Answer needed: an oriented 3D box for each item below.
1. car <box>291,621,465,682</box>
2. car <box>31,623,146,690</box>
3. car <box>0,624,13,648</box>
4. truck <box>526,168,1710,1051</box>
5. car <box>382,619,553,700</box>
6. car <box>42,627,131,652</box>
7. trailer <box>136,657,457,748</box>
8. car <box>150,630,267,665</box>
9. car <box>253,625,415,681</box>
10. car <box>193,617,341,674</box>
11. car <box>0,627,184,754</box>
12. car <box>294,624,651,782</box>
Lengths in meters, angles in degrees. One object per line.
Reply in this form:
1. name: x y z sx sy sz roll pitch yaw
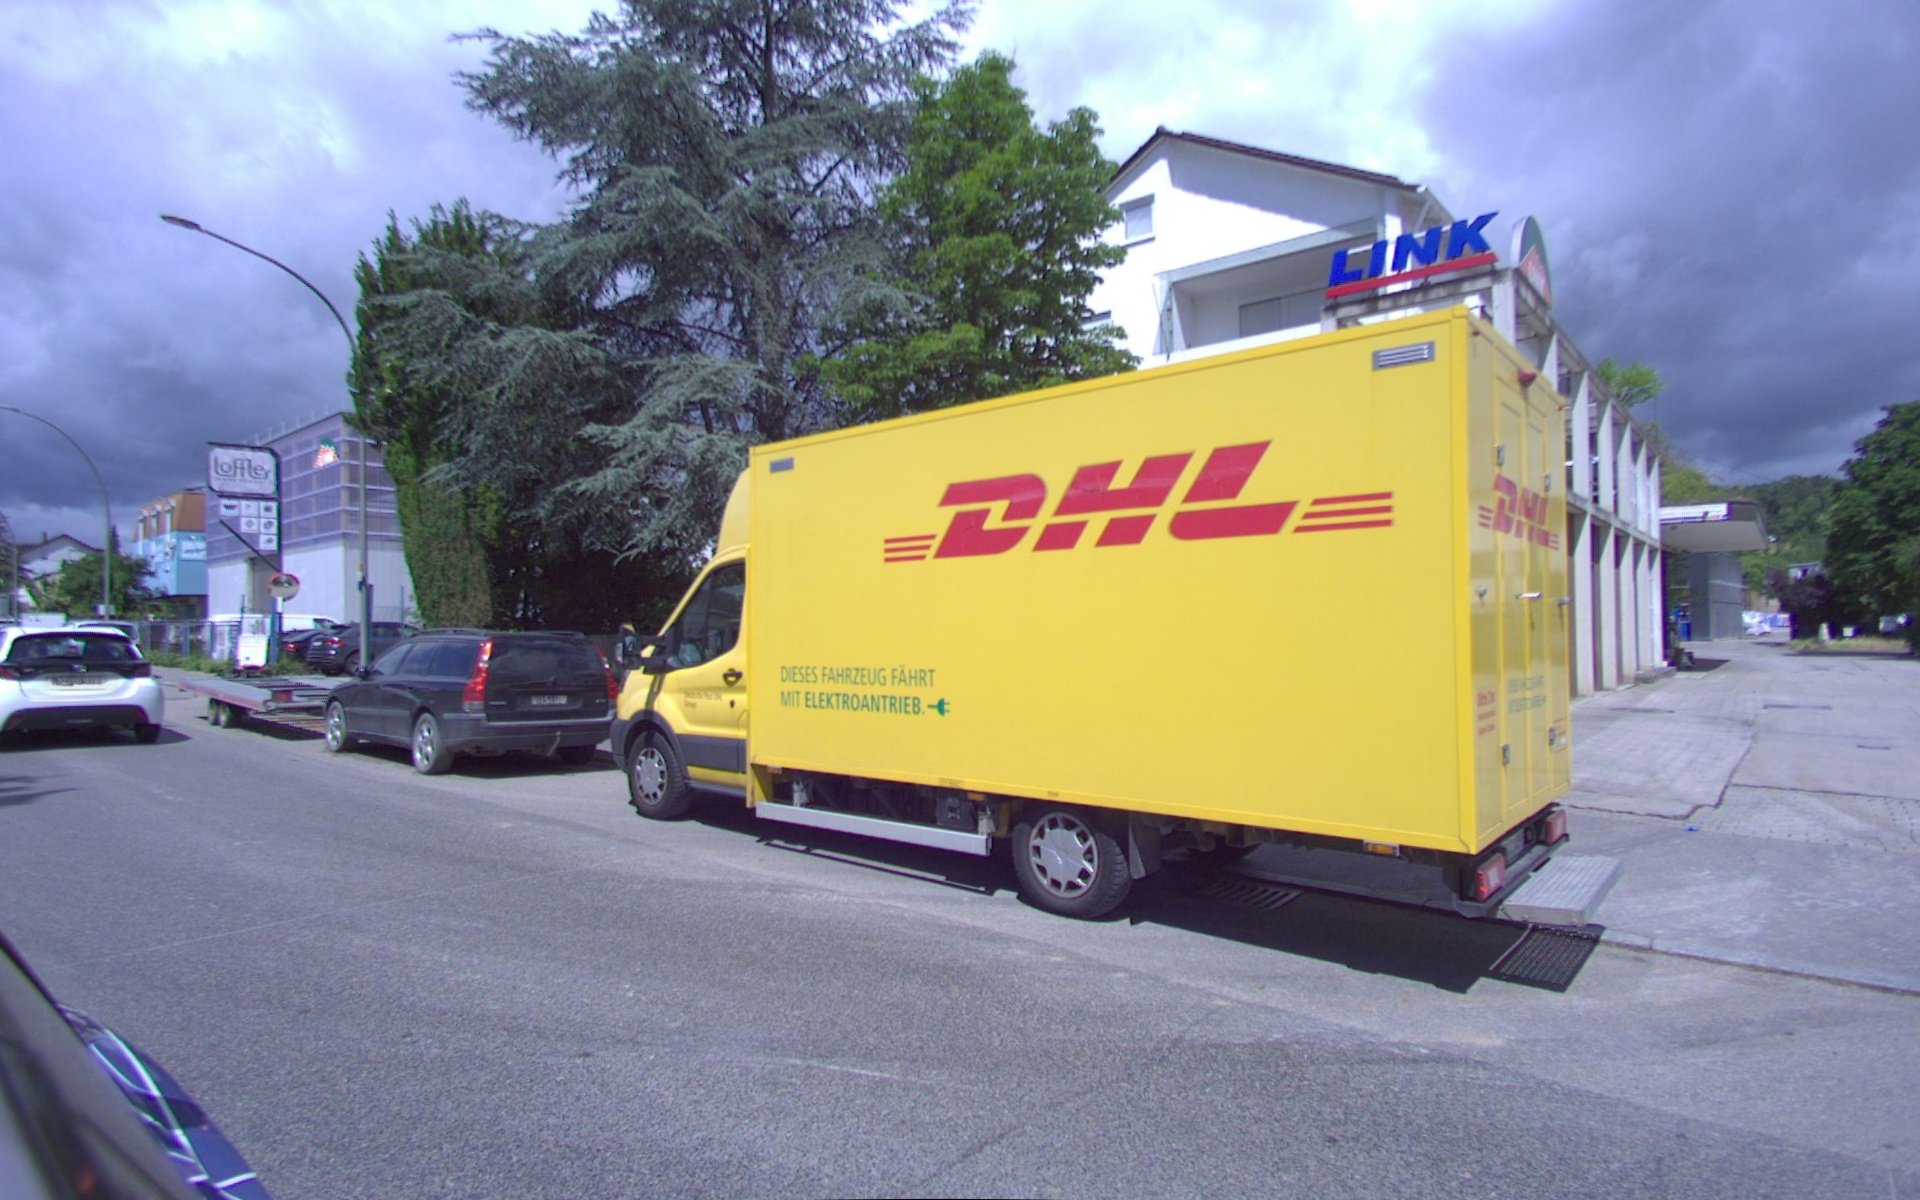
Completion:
1. car: -17.420 1.484 30.458 1.997 1.683 4.118 -1 -2 38
2. car: -24.024 1.528 27.851 4.126 1.689 1.785 -2 -4 41
3. car: -83.073 3.059 85.866 3.940 2.029 2.001 2 -3 -44
4. truck: 0.138 0.136 6.870 7.812 3.026 2.300 -1 -4 40
5. car: -11.127 1.297 22.728 4.630 1.647 1.788 -2 -4 41
6. car: -54.639 2.460 63.364 1.674 1.505 3.995 -2 -3 40
7. trailer: -10.615 1.447 15.812 7.455 0.998 2.294 -2 -3 41
8. car: -33.715 2.122 45.452 1.775 1.513 3.905 -3 -3 39
9. car: -20.027 1.659 32.485 2.101 1.683 3.948 -1 -3 38
10. car: -24.439 1.594 35.771 1.999 1.891 3.945 -2 -3 41
11. car: -11.940 1.078 13.224 3.995 1.431 1.962 -1 -3 39
12. car: -5.801 1.080 11.742 4.810 1.464 1.972 -2 -6 42
